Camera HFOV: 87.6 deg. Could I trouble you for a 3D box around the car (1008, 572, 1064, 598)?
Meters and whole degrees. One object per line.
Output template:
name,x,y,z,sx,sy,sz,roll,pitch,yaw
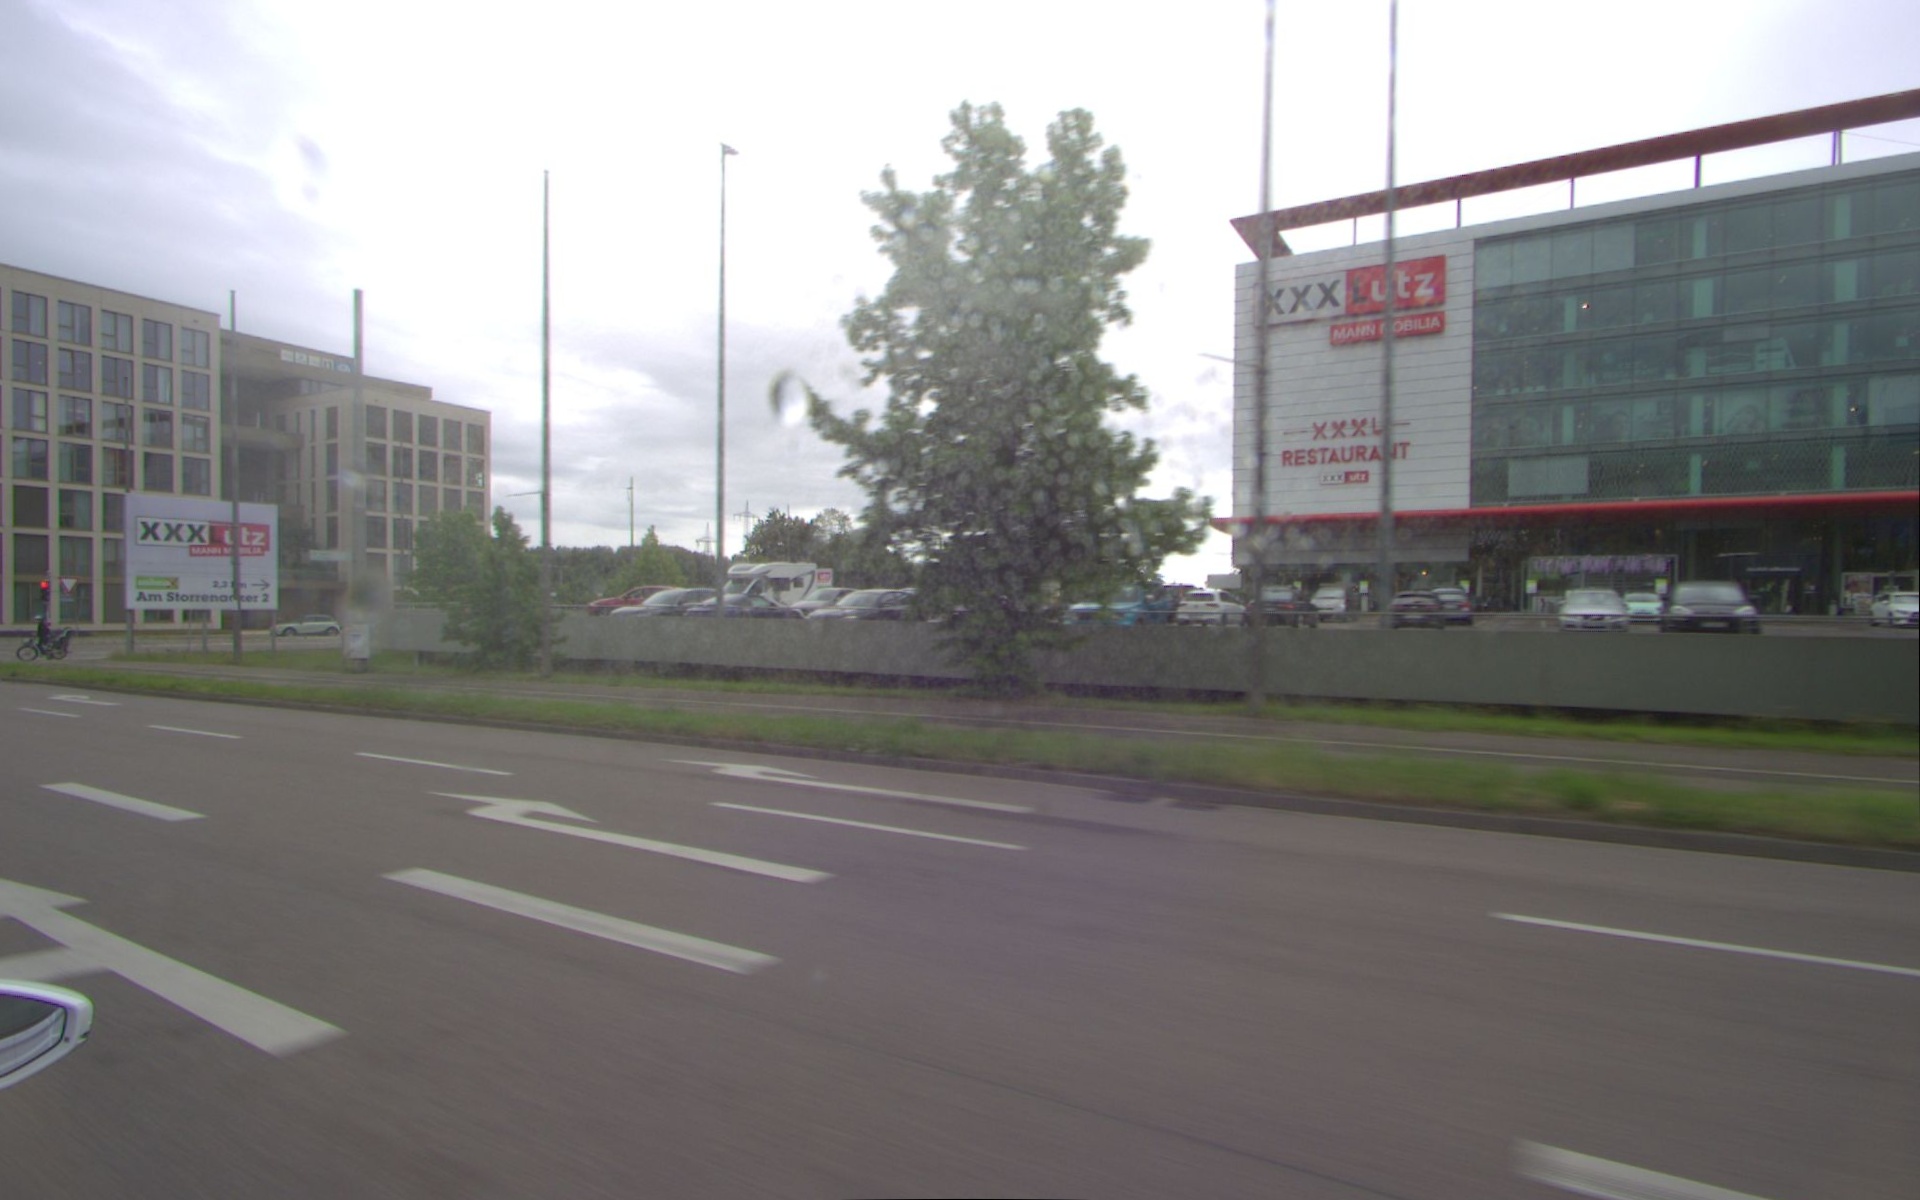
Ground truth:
car,6.044,-1.195,79.662,3.937,1.884,1.897,2,0,28

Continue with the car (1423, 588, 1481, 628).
car,21.171,0.342,43.198,1.775,1.602,3.812,2,1,20

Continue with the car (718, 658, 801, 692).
car,-9.030,3.377,45.279,1.440,1.303,3.606,2,0,39

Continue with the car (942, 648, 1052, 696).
car,1.239,2.231,31.749,1.738,1.367,4.048,0,-2,31

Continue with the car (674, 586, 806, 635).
car,-6.637,0.336,30.575,1.694,1.369,3.918,2,0,31

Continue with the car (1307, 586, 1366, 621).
car,17.479,0.194,46.377,1.678,1.515,3.622,2,0,35

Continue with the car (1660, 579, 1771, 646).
car,20.213,0.305,26.965,1.971,1.613,4.358,2,1,33

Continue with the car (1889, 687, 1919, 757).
car,20.628,2.568,20.269,1.737,1.367,4.051,0,-2,29

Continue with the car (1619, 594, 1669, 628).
car,29.896,0.484,43.863,1.678,1.394,3.586,2,0,33

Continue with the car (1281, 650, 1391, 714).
car,8.027,1.675,21.209,1.583,1.146,3.509,0,-2,31

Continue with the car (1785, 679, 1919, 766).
car,15.246,2.006,16.967,1.433,1.146,3.509,0,-2,31

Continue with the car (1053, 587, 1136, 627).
car,5.475,0.292,40.477,1.759,1.528,3.833,1,0,34

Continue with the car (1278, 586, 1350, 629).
car,13.922,0.304,39.272,1.678,1.576,3.622,2,0,35

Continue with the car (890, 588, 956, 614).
car,-1.920,0.061,52.416,1.440,1.237,3.606,2,0,39

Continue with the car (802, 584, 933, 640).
car,-2.487,0.348,27.733,1.694,1.402,3.869,2,0,29

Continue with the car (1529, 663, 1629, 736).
car,11.827,1.842,19.228,1.493,1.146,3.509,0,-2,31

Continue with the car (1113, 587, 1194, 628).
car,7.688,0.304,39.521,1.759,1.528,3.833,1,0,34

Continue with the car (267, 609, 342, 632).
car,-47.047,1.480,71.884,1.672,1.510,4.180,2,0,36

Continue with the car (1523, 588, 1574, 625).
car,24.336,0.281,41.362,1.676,1.412,3.680,2,0,32

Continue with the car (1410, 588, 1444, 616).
car,26.771,0.141,57.383,1.681,1.518,3.632,2,0,26

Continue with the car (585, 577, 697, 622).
car,-13.480,-0.017,42.550,4.182,1.702,1.839,2,0,-6

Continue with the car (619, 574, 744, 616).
car,-8.774,-0.131,31.808,1.694,1.192,3.688,2,0,31

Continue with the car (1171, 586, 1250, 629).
car,9.645,0.290,38.352,1.758,1.528,3.834,1,0,33

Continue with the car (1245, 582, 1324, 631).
car,11.786,0.264,36.262,1.678,1.654,3.622,2,0,35

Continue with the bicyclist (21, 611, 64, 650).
bicyclist,-36.114,1.205,39.422,0.981,1.523,0.702,1,0,-8

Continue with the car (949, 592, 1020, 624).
car,1.271,0.418,50.285,1.759,1.528,3.833,1,0,34

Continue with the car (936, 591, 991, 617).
car,0.287,0.288,66.067,1.839,1.598,3.981,0,-2,32

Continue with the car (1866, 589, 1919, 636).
car,37.873,0.533,39.781,1.786,1.805,3.979,2,0,28

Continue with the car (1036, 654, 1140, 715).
car,4.573,2.899,35.211,1.972,1.855,4.359,0,-2,33

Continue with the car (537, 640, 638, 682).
car,-19.799,3.200,53.170,5.035,2.039,2.451,0,-2,32

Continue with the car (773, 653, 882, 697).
car,-4.652,2.610,35.615,1.738,1.367,4.049,0,-2,31

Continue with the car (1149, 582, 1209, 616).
car,10.860,-0.021,49.437,1.579,1.576,3.622,2,0,35

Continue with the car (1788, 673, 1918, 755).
car,24.424,3.050,27.567,1.972,1.855,4.359,0,-2,33

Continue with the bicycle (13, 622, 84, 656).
bicycle,-35.897,1.540,39.459,1.973,1.312,0.702,1,0,-8

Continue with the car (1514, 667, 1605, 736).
car,14.424,2.365,24.076,1.738,1.367,4.047,0,-2,32

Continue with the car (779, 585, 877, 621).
car,-5.415,0.141,41.593,1.728,1.333,4.098,2,0,34

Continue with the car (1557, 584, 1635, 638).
car,20.201,0.364,31.962,1.819,1.539,4.225,2,0,29

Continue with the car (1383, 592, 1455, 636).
car,15.682,0.473,34.151,1.676,1.374,3.625,2,0,33

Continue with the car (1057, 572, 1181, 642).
car,3.978,0.179,24.546,1.783,1.545,4.066,2,0,27

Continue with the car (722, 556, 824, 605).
car,-9.382,-0.946,50.587,2.135,2.240,4.999,2,0,35
